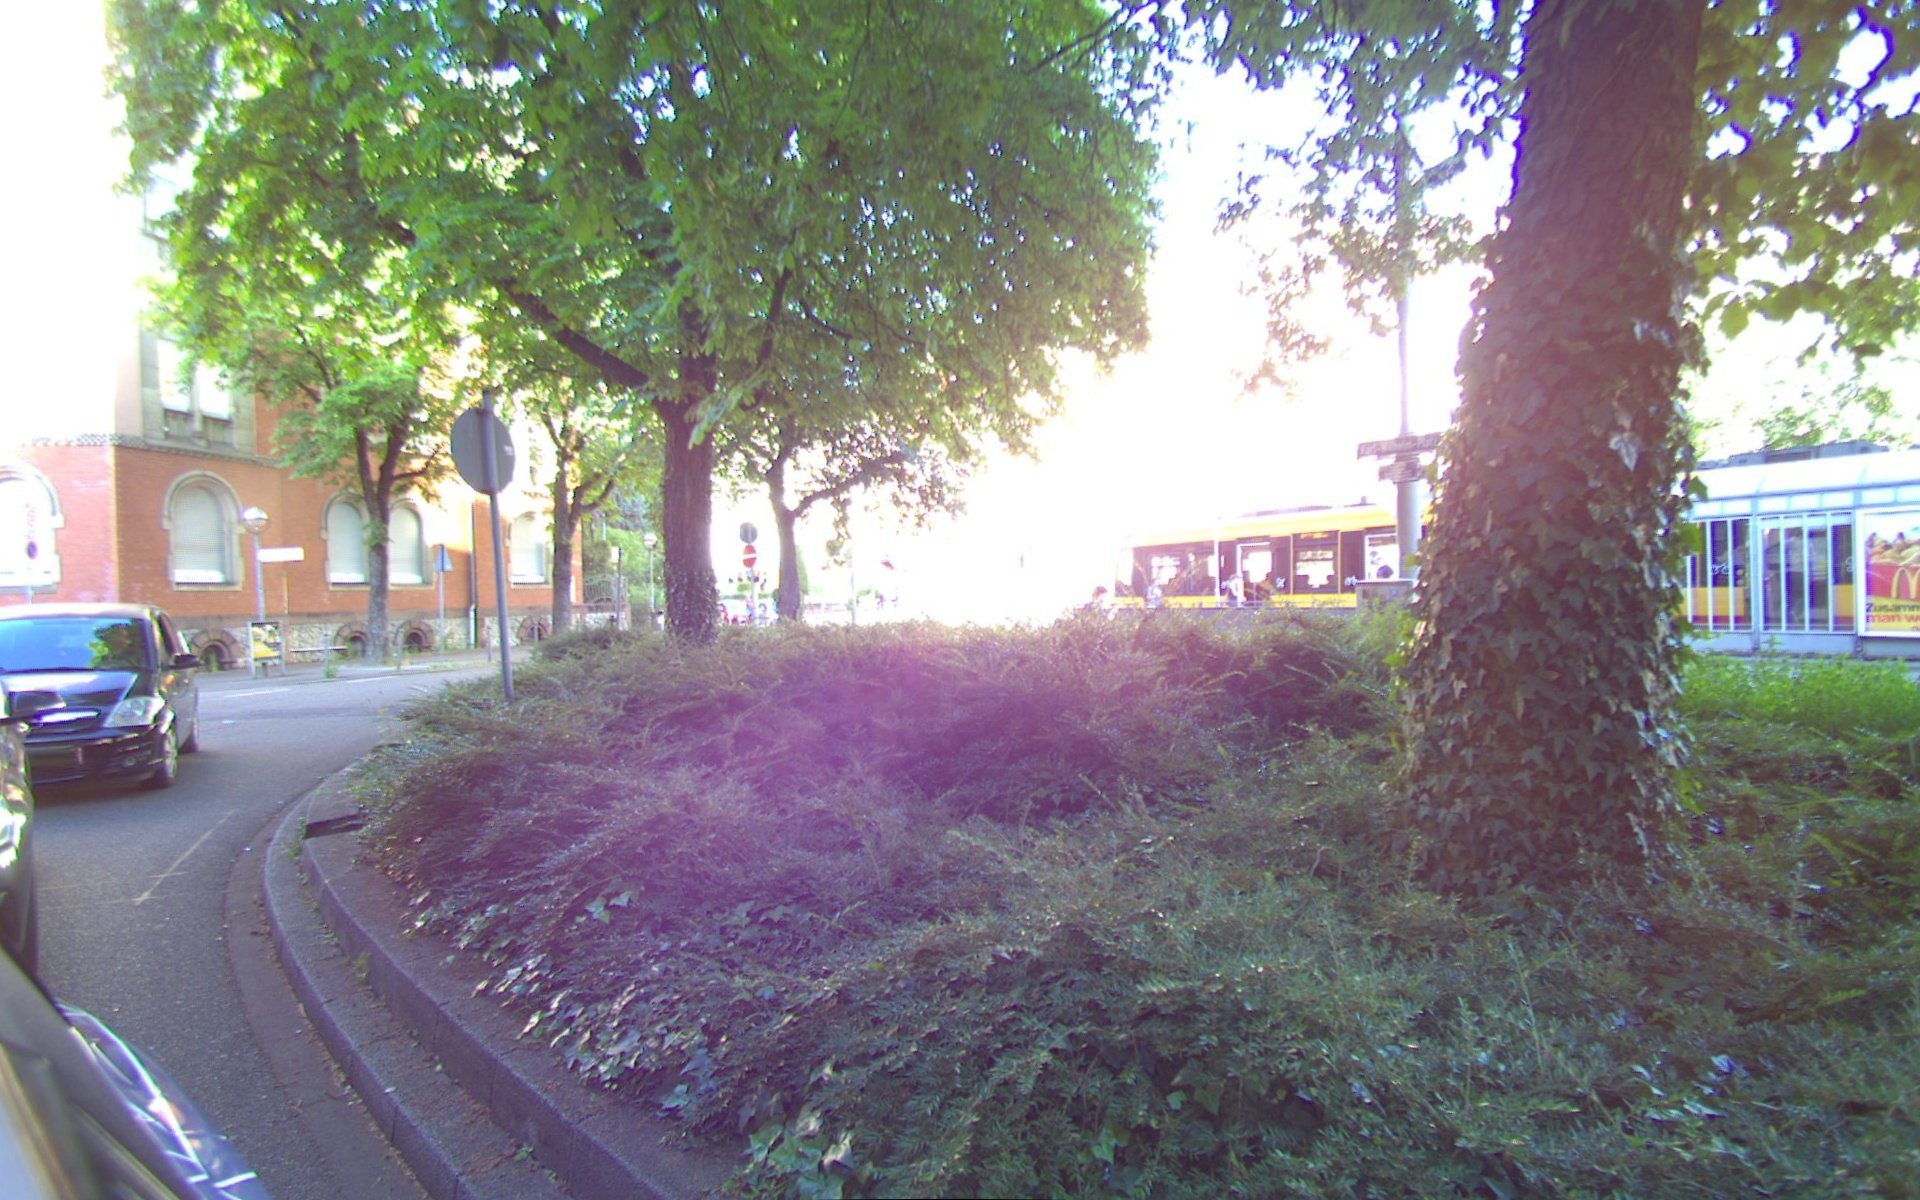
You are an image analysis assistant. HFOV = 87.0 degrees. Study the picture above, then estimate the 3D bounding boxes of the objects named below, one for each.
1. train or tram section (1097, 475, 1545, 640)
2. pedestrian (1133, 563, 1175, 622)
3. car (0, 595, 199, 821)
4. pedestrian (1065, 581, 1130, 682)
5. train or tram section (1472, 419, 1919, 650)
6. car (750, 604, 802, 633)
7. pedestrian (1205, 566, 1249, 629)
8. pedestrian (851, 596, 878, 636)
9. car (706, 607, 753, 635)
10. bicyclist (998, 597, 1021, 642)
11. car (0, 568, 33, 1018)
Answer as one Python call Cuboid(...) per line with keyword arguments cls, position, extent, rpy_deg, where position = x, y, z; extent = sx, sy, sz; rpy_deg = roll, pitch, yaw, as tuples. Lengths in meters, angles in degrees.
Cuboid(cls="train or tram section", position=(8.988, -0.890, 28.119), extent=(2.727, 3.584, 12.718), rpy_deg=(-2, 0, -32))
Cuboid(cls="pedestrian", position=(5.665, -0.214, 29.537), extent=(0.713, 1.647, 0.908), rpy_deg=(-4, 1, -26))
Cuboid(cls="car", position=(-8.015, 0.832, 9.089), extent=(1.653, 1.640, 3.697), rpy_deg=(-2, 0, -34))
Cuboid(cls="pedestrian", position=(2.042, 0.453, 15.074), extent=(0.698, 1.454, 0.602), rpy_deg=(-2, 0, -25))
Cuboid(cls="train or tram section", position=(15.607, -1.048, 17.395), extent=(2.739, 3.614, 12.456), rpy_deg=(-2, 0, -32))
Cuboid(cls="car", position=(-9.744, 0.964, 53.357), extent=(1.707, 1.428, 4.013), rpy_deg=(-2, 0, -25))
Cuboid(cls="pedestrian", position=(7.243, -0.071, 27.435), extent=(0.902, 1.647, 0.717), rpy_deg=(-3, 1, 34))
Cuboid(cls="pedestrian", position=(-4.129, 0.689, 43.887), extent=(0.722, 1.647, 0.897), rpy_deg=(-3, 1, 27))
Cuboid(cls="car", position=(-13.821, 1.215, 60.532), extent=(1.707, 1.427, 4.013), rpy_deg=(-2, 2, -29))
Cuboid(cls="bicyclist", position=(1.754, 0.694, 35.914), extent=(0.588, 1.585, 0.557), rpy_deg=(-1, 0, -30))
Cuboid(cls="car", position=(-5.453, 0.731, 4.556), extent=(1.768, 1.590, 4.264), rpy_deg=(-1, -1, -44))
